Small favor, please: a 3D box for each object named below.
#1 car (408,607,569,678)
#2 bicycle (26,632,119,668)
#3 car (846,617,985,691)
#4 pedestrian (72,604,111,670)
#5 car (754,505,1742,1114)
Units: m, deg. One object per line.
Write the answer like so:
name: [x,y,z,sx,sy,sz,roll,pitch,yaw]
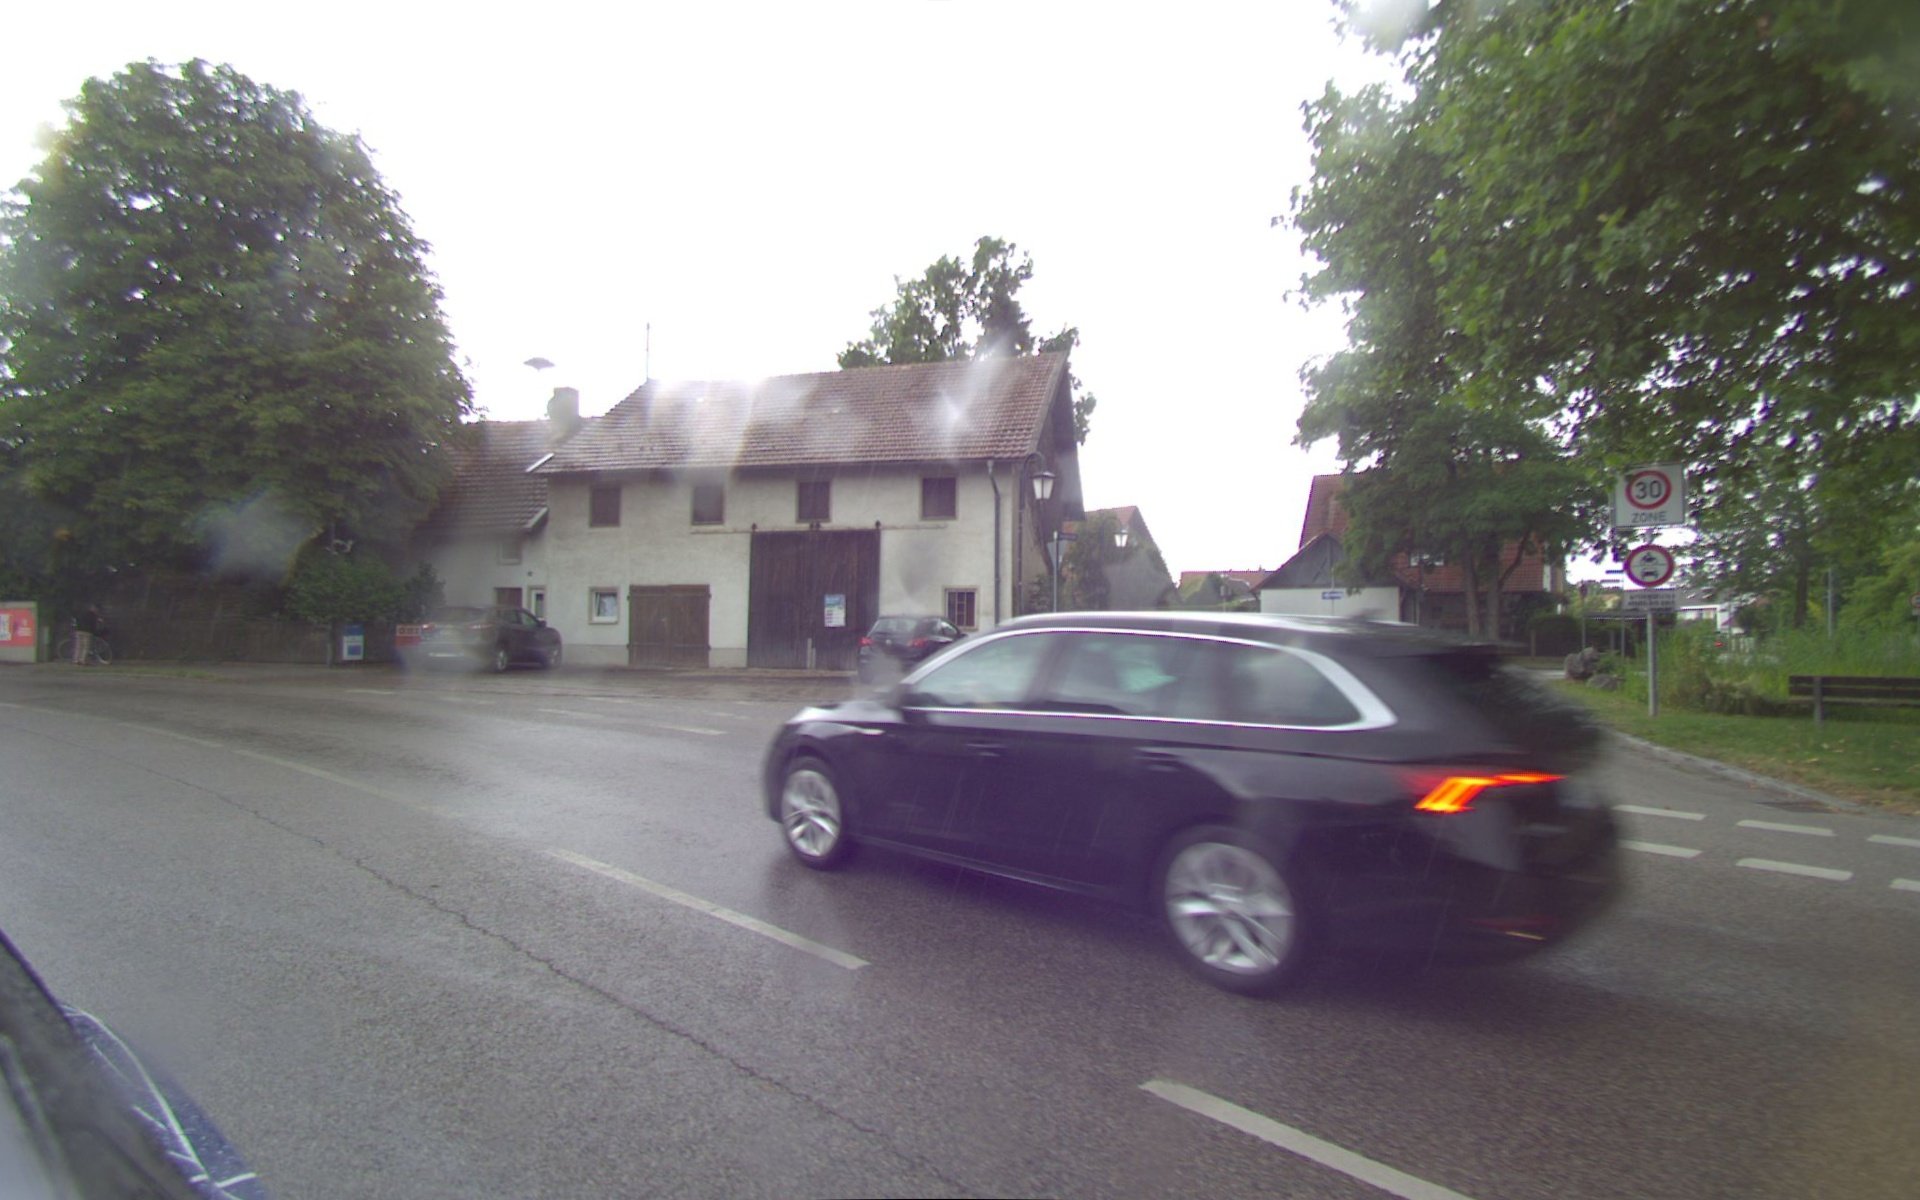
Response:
car: [-11.264,1.047,24.518,1.793,1.560,4.278,1,-3,1]
bicycle: [-23.002,1.291,26.247,1.848,0.909,0.664,0,-1,0]
car: [-0.856,1.102,22.180,1.805,1.447,4.258,0,-1,16]
pedestrian: [-21.973,0.921,25.602,0.642,1.640,0.480,1,-1,-29]
car: [0.930,0.606,5.025,1.763,1.675,4.450,0,-1,-43]
